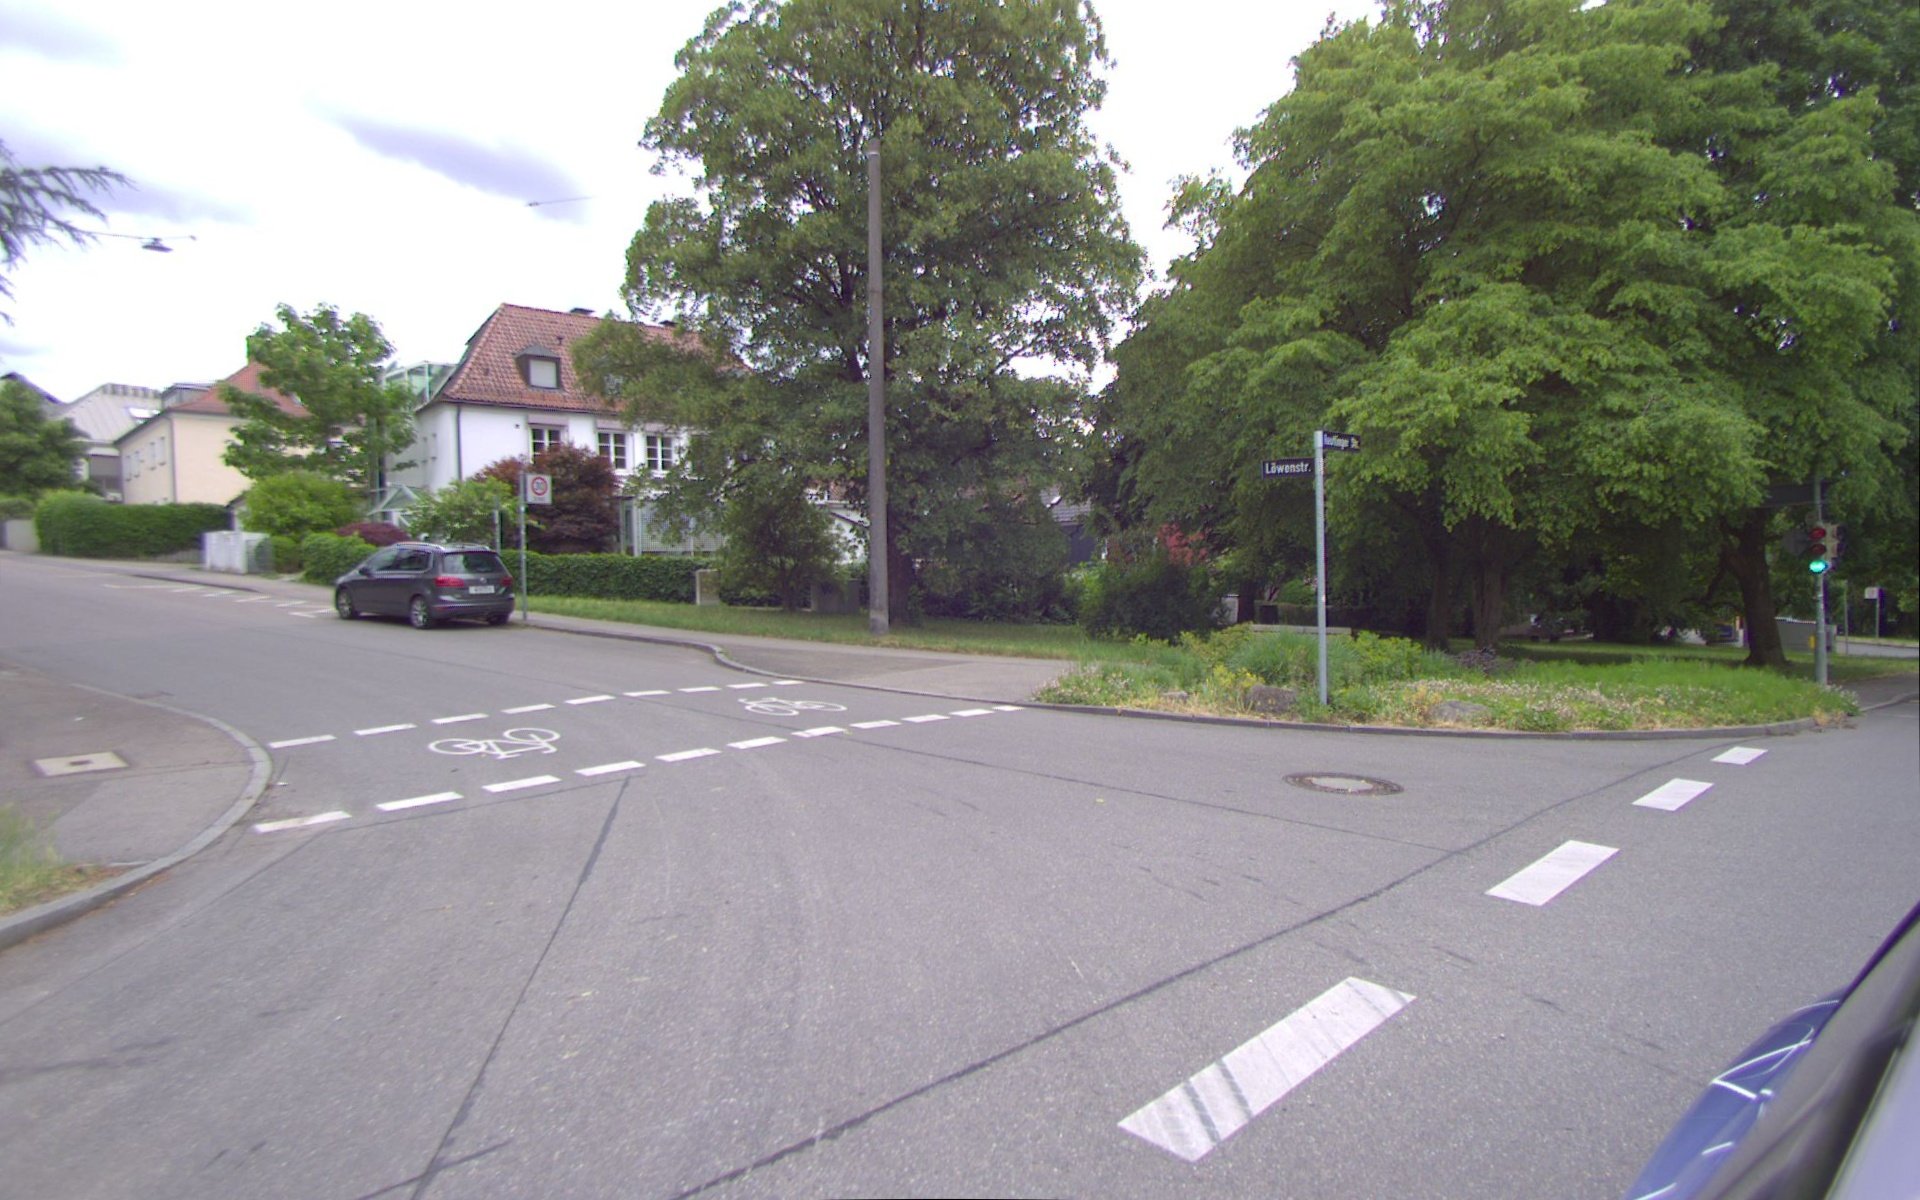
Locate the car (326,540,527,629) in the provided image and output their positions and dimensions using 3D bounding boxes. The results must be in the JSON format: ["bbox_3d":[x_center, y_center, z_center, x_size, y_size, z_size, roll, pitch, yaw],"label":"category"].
[{"bbox_3d":[-10.522,-0.372,19.903,3.972,1.555,1.802,3,4,33],"label":"car"}]
